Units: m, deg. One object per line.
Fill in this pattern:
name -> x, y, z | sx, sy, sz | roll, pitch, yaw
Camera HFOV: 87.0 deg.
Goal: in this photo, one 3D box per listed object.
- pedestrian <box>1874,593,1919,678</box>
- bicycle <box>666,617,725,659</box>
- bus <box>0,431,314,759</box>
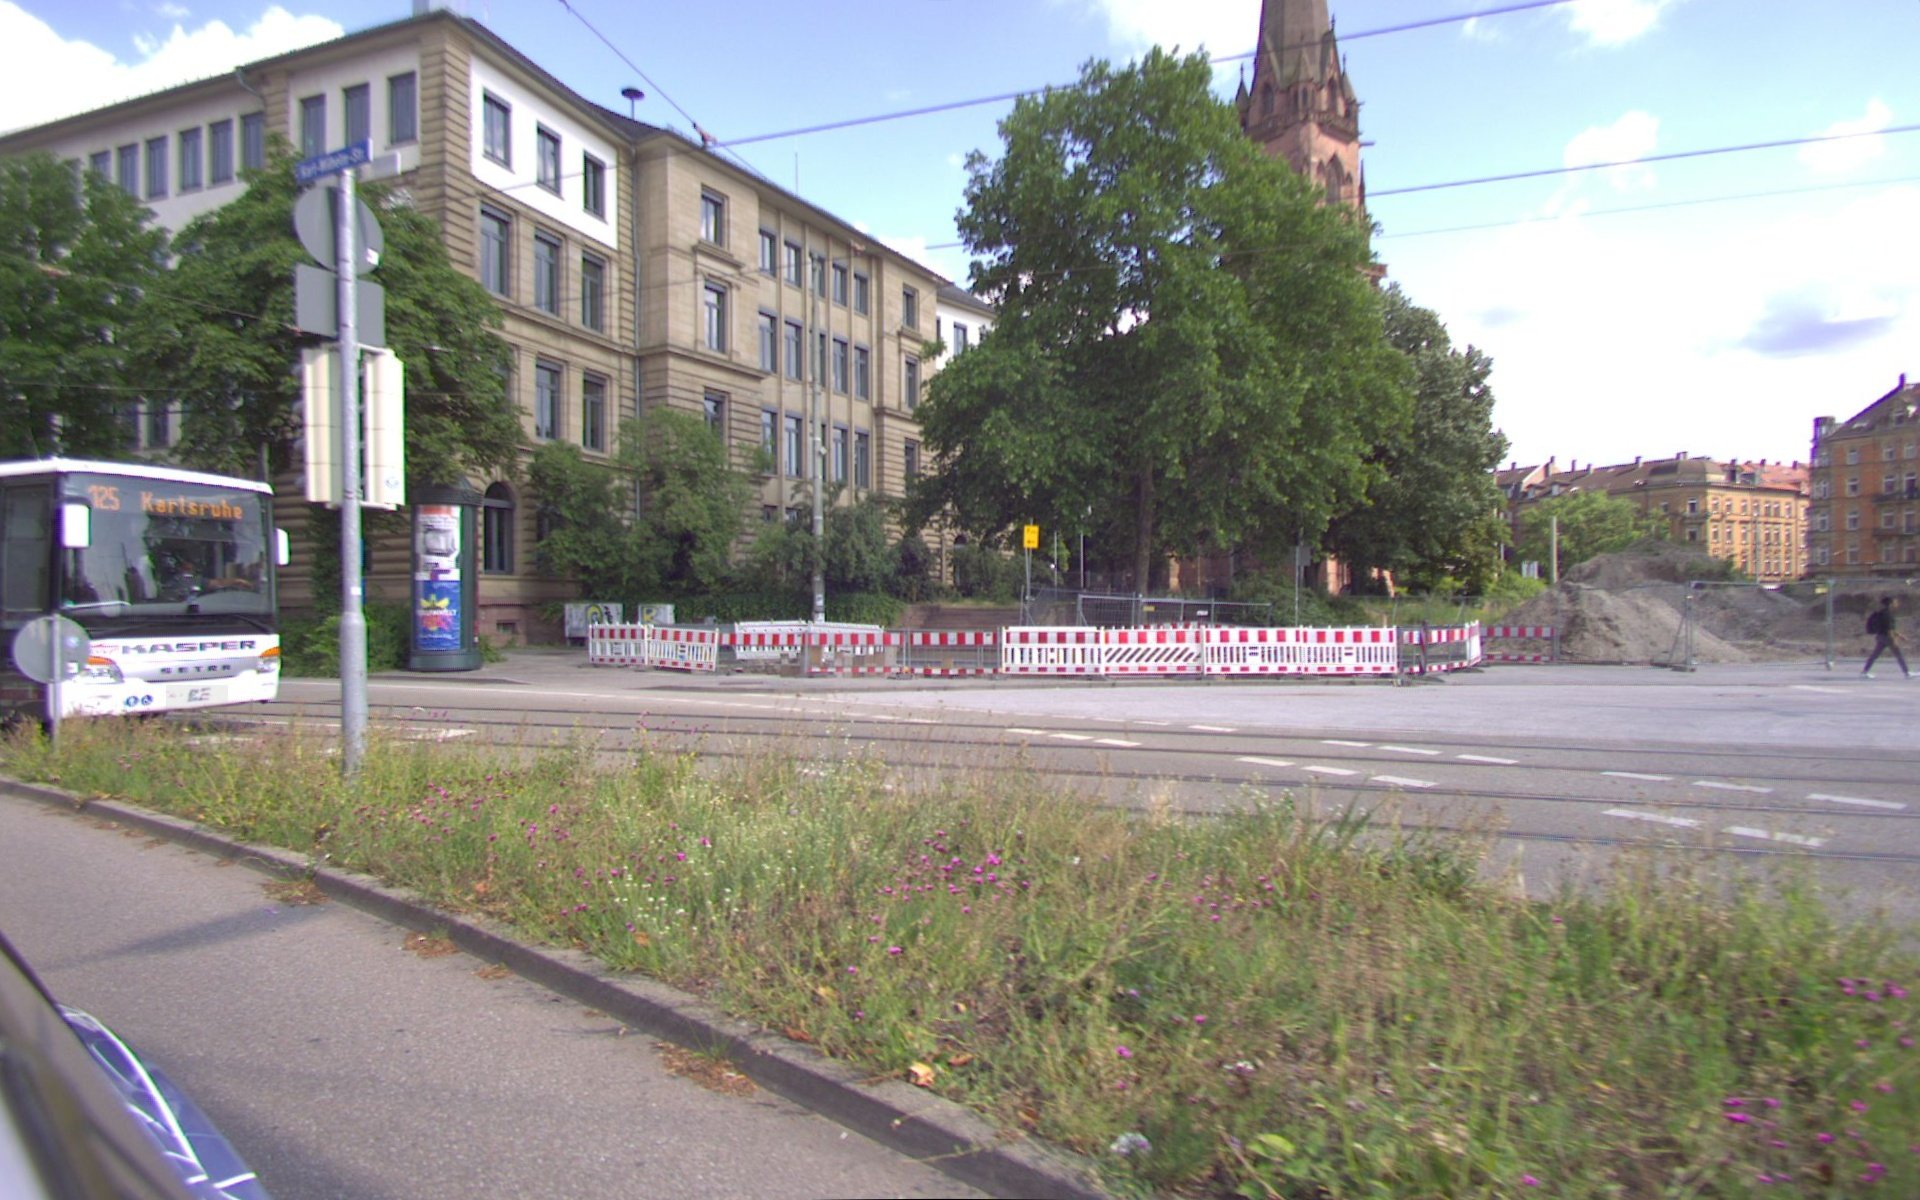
pedestrian -> 18.842, 0.709, 20.198 | 0.571, 1.665, 0.790 | 0, -1, -41
bicycle -> -7.939, 1.129, 30.497 | 0.724, 1.177, 2.108 | -1, 0, 18
bus -> -14.548, -0.014, 13.717 | 12.109, 3.353, 2.909 | 0, 0, 19
